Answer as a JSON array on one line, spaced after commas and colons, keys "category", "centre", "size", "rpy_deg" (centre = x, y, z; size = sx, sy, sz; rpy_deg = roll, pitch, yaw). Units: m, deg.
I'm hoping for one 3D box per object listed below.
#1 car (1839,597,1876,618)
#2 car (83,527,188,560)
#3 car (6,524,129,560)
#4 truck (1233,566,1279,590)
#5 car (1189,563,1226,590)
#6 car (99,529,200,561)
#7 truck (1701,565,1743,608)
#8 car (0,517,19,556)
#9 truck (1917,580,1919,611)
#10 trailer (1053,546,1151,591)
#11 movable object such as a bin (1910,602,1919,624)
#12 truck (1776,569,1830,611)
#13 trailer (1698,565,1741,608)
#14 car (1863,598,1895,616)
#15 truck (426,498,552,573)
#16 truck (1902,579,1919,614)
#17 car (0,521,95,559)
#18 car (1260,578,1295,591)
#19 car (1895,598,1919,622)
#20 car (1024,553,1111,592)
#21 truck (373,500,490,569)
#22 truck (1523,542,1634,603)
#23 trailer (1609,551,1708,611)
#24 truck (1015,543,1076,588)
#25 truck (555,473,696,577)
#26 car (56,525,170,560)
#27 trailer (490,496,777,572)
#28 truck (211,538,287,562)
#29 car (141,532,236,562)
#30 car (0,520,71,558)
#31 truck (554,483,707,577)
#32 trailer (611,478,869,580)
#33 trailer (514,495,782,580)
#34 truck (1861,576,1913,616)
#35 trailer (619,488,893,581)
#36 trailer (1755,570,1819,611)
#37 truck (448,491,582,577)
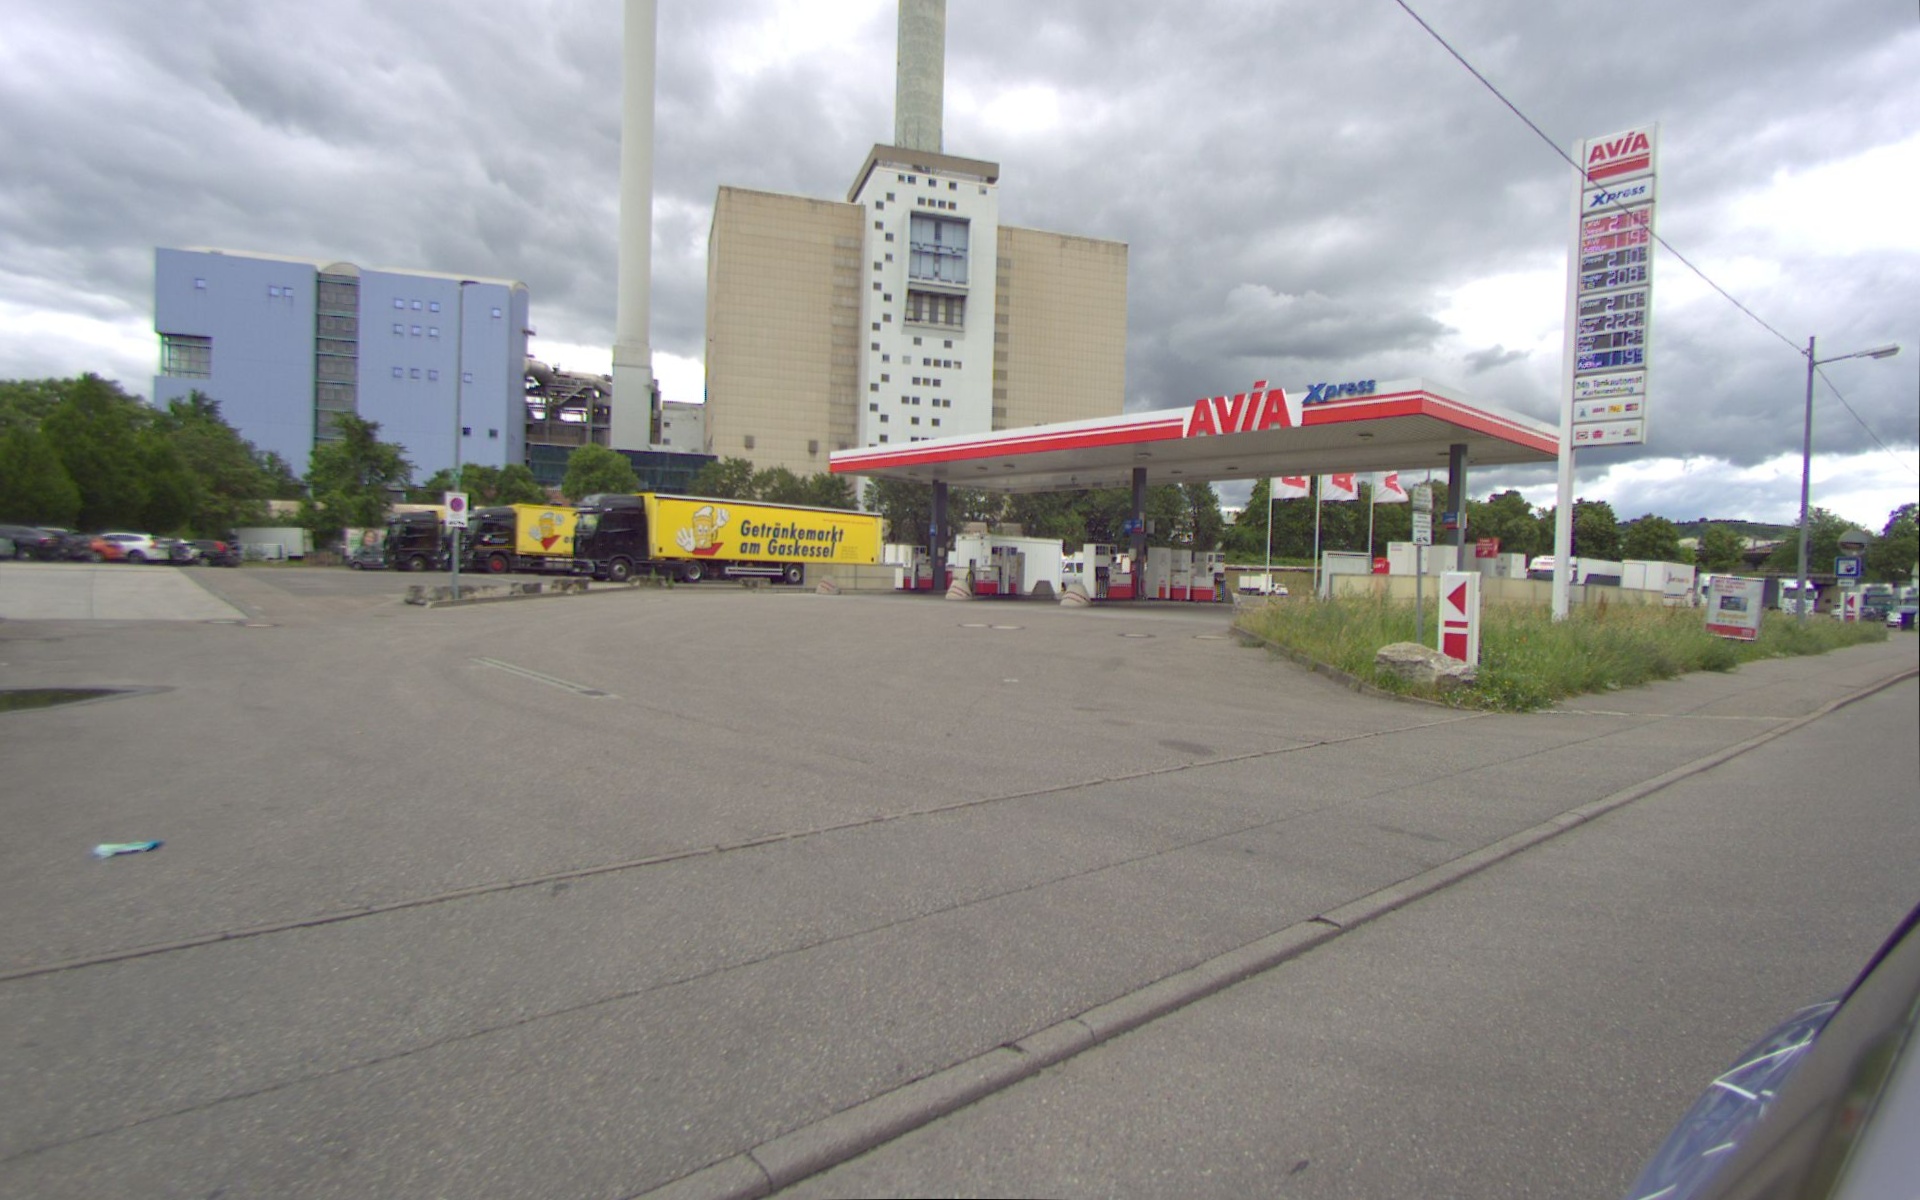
[{"category": "car", "centre": [70.741, 0.559, 79.735], "size": [3.931, 1.591, 1.767], "rpy_deg": [0, 0, -42]}, {"category": "car", "centre": [-46.361, -3.140, 56.994], "size": [4.216, 1.671, 1.864], "rpy_deg": [1, 2, -20]}, {"category": "car", "centre": [-45.451, -2.945, 51.649], "size": [4.275, 1.613, 1.899], "rpy_deg": [1, 2, -20]}, {"category": "truck", "centre": [34.655, -2.587, 118.749], "size": [2.233, 2.520, 5.974], "rpy_deg": [2, 3, -15]}, {"category": "car", "centre": [28.047, -2.674, 114.771], "size": [2.064, 2.871, 5.097], "rpy_deg": [2, 1, -10]}, {"category": "car", "centre": [-47.586, -3.227, 59.520], "size": [4.239, 1.671, 1.956], "rpy_deg": [1, 2, -20]}, {"category": "truck", "centre": [76.959, -1.353, 102.312], "size": [2.857, 4.145, 6.672], "rpy_deg": [4, 2, 35]}, {"category": "car", "centre": [-43.443, -2.775, 43.263], "size": [4.305, 1.671, 1.913], "rpy_deg": [1, 2, -20]}, {"category": "truck", "centre": [115.823, -0.493, 118.938], "size": [2.807, 3.757, 9.005], "rpy_deg": [2, 1, 30]}, {"category": "trailer", "centre": [14.547, -3.379, 106.926], "size": [3.566, 4.224, 18.543], "rpy_deg": [2, 2, -14]}, {"category": "movable object such as a bin", "centre": [49.451, 0.661, 52.134], "size": [0.714, 1.095, 0.652], "rpy_deg": [3, 1, 42]}, {"category": "truck", "centre": [88.079, -1.084, 105.835], "size": [2.850, 4.145, 6.688], "rpy_deg": [3, 2, 29]}, {"category": "trailer", "centre": [80.395, -1.392, 107.305], "size": [2.822, 4.145, 13.230], "rpy_deg": [4, 2, 34]}, {"category": "car", "centre": [80.782, 0.609, 88.961], "size": [3.980, 1.513, 1.497], "rpy_deg": [0, 2, -40]}, {"category": "truck", "centre": [-26.819, -3.620, 57.755], "size": [5.938, 3.963, 2.695], "rpy_deg": [0, 2, -43]}, {"category": "truck", "centre": [103.493, -0.319, 108.108], "size": [2.855, 3.674, 6.675], "rpy_deg": [4, 2, 33]}, {"category": "car", "centre": [-44.673, -2.888, 48.678], "size": [4.237, 1.671, 1.969], "rpy_deg": [1, 2, -20]}, {"category": "car", "centre": [37.144, -1.821, 118.502], "size": [1.958, 1.371, 4.158], "rpy_deg": [2, 2, -15]}, {"category": "car", "centre": [61.018, 0.636, 64.415], "size": [4.481, 1.482, 1.777], "rpy_deg": [1, 2, -42]}, {"category": "car", "centre": [5.924, -1.495, 55.359], "size": [4.865, 1.936, 1.987], "rpy_deg": [1, 2, -42]}, {"category": "truck", "centre": [-32.851, -4.031, 63.054], "size": [5.938, 3.963, 2.695], "rpy_deg": [0, 2, -43]}, {"category": "truck", "centre": [45.501, -1.938, 74.214], "size": [12.841, 4.015, 3.081], "rpy_deg": [0, 4, -42]}, {"category": "trailer", "centre": [51.184, -1.316, 74.015], "size": [10.216, 4.015, 2.966], "rpy_deg": [1, 3, -39]}, {"category": "truck", "centre": [8.368, -3.417, 100.083], "size": [3.633, 4.171, 7.273], "rpy_deg": [2, 1, -15]}, {"category": "truck", "centre": [-16.647, -3.639, 50.514], "size": [5.938, 4.757, 2.961], "rpy_deg": [0, 2, -42]}, {"category": "car", "centre": [-45.374, -3.050, 54.327], "size": [4.313, 1.671, 1.906], "rpy_deg": [1, 2, -20]}, {"category": "trailer", "centre": [-19.970, -3.942, 64.074], "size": [17.764, 3.963, 2.694], "rpy_deg": [0, 2, -43]}, {"category": "truck", "centre": [-63.589, -4.489, 90.590], "size": [5.179, 1.953, 2.005], "rpy_deg": [1, 2, -19]}, {"category": "car", "centre": [-47.473, -3.268, 62.357], "size": [4.250, 1.671, 1.991], "rpy_deg": [1, 2, -20]}, {"category": "car", "centre": [-43.715, -2.808, 46.038], "size": [4.505, 1.671, 2.010], "rpy_deg": [1, 2, -20]}, {"category": "truck", "centre": [-15.113, -3.123, 46.628], "size": [5.938, 3.963, 2.961], "rpy_deg": [0, 2, -42]}, {"category": "trailer", "centre": [-11.542, -3.639, 55.219], "size": [14.058, 4.781, 3.004], "rpy_deg": [0, 2, -43]}, {"category": "trailer", "centre": [-18.107, -3.545, 60.431], "size": [15.457, 4.313, 3.025], "rpy_deg": [0, 2, -43]}, {"category": "truck", "centre": [98.499, -0.443, 107.612], "size": [2.855, 4.063, 6.675], "rpy_deg": [4, 2, 33]}, {"category": "trailer", "centre": [-9.898, -3.119, 51.447], "size": [14.058, 3.963, 3.004], "rpy_deg": [0, 2, -43]}, {"category": "trailer", "centre": [91.477, -1.069, 112.158], "size": [2.815, 4.145, 13.263], "rpy_deg": [3, 2, 28]}, {"category": "truck", "centre": [-24.102, -3.516, 54.953], "size": [5.938, 4.315, 3.049], "rpy_deg": [0, 2, -42]}]
